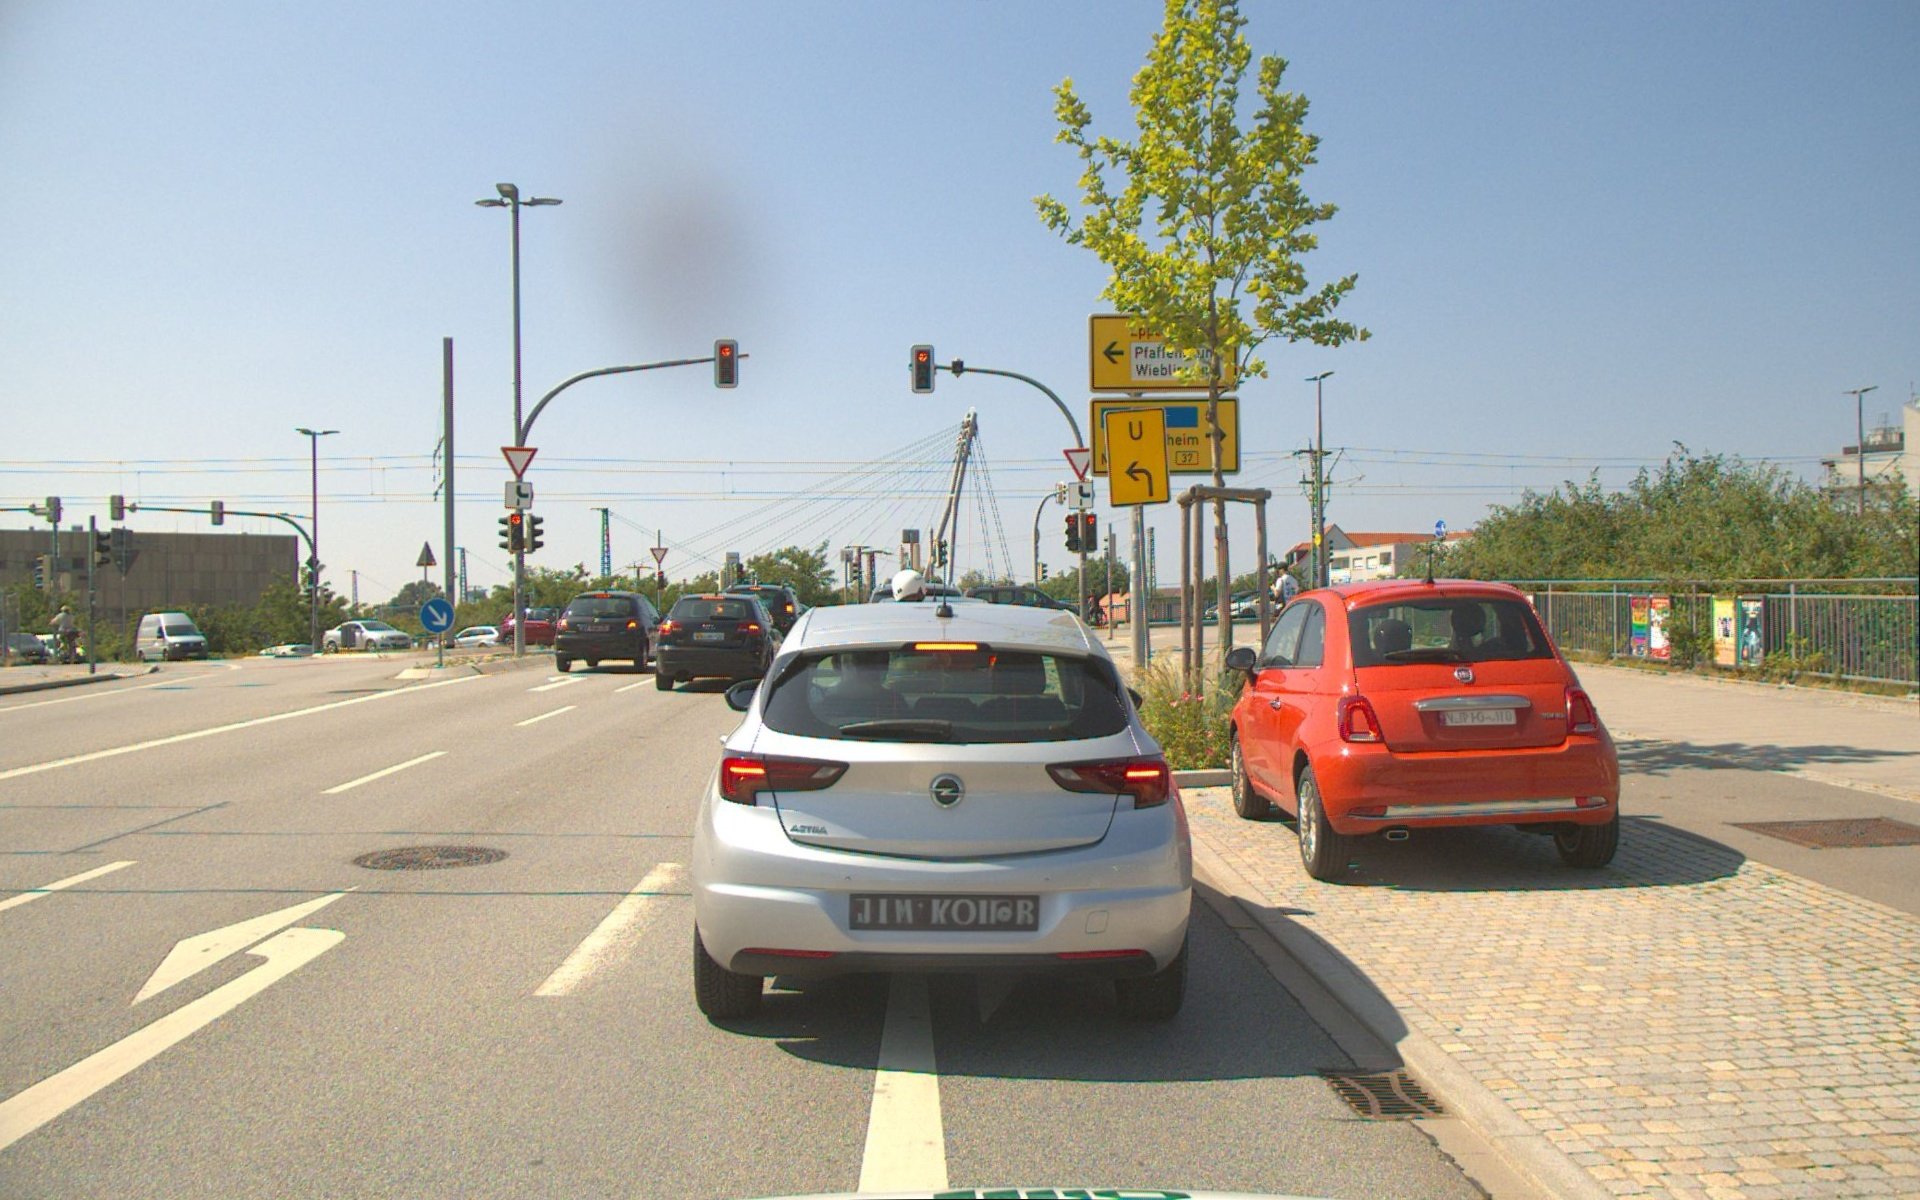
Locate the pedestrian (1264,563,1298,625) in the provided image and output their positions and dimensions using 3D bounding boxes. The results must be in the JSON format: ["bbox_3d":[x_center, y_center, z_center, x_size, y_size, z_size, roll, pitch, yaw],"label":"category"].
[{"bbox_3d":[9.891,-0.177,50.978,0.739,1.896,0.739,0,-1,39],"label":"pedestrian"}]

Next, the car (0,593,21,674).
[{"bbox_3d":[-25.650,0.844,43.396,1.651,2.049,3.962,2,-1,-29],"label":"car"}]

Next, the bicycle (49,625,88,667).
[{"bbox_3d":[-25.996,1.327,48.221,0.670,1.147,2.334,2,-1,-36],"label":"bicycle"}]

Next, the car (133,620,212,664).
[{"bbox_3d":[-38.376,2.040,80.590,3.916,2.049,1.605,1,-1,33],"label":"car"}]

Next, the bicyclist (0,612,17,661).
[{"bbox_3d":[-31.349,1.170,53.864,0.809,1.587,0.859,0,-1,38],"label":"bicyclist"}]

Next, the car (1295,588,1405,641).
[{"bbox_3d":[15.643,0.586,66.356,3.930,2.049,1.987,0,-1,-22],"label":"car"}]

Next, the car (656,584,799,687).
[{"bbox_3d":[-3.535,0.538,25.771,1.671,1.437,3.999,2,-1,-1],"label":"car"}]

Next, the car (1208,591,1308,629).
[{"bbox_3d":[13.940,0.493,77.402,4.180,1.703,1.990,1,-1,-18],"label":"car"}]

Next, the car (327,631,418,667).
[{"bbox_3d":[-24.512,2.028,68.940,3.638,1.356,1.766,1,-1,34],"label":"car"}]

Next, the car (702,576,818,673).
[{"bbox_3d":[-3.755,0.463,31.621,1.767,1.650,3.915,-3,-1,-2],"label":"car"}]

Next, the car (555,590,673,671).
[{"bbox_3d":[-6.387,0.556,30.819,1.555,1.419,3.338,0,-1,-2],"label":"car"}]

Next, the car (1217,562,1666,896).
[{"bbox_3d":[2.663,0.587,10.056,1.635,1.566,3.918,-2,1,1],"label":"car"}]

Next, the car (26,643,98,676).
[{"bbox_3d":[-45.368,2.987,83.561,3.421,1.550,1.636,1,-1,29],"label":"car"}]

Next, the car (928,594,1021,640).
[{"bbox_3d":[0.655,0.786,76.468,3.922,2.049,1.991,1,-1,-16],"label":"car"}]

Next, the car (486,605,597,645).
[{"bbox_3d":[-16.344,0.976,64.642,3.903,1.481,1.685,1,-1,18],"label":"car"}]

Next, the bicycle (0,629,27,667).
[{"bbox_3d":[-31.414,1.579,53.924,2.482,1.153,0.726,-3,2,37],"label":"bicycle"}]

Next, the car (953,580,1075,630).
[{"bbox_3d":[2.033,0.201,63.473,4.459,1.815,1.997,1,-1,-6],"label":"car"}]

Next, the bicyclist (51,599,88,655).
[{"bbox_3d":[-25.913,0.775,48.133,0.813,1.596,0.936,2,-1,-36],"label":"bicyclist"}]

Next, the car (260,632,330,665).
[{"bbox_3d":[-36.852,2.676,91.618,4.130,1.674,1.824,1,-1,39],"label":"car"}]

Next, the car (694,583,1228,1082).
[{"bbox_3d":[-0.042,0.729,7.294,1.656,1.546,4.269,0,0,-1],"label":"car"}]

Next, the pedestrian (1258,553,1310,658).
[{"bbox_3d":[5.897,0.101,30.121,0.743,1.862,0.884,1,-1,-1],"label":"pedestrian"}]

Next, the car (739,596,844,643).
[{"bbox_3d":[-6.423,0.739,63.338,3.765,1.713,1.665,1,-1,2],"label":"car"}]

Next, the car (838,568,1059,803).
[{"bbox_3d":[-0.134,0.655,14.143,1.602,1.703,3.743,1,-1,-2],"label":"car"}]
